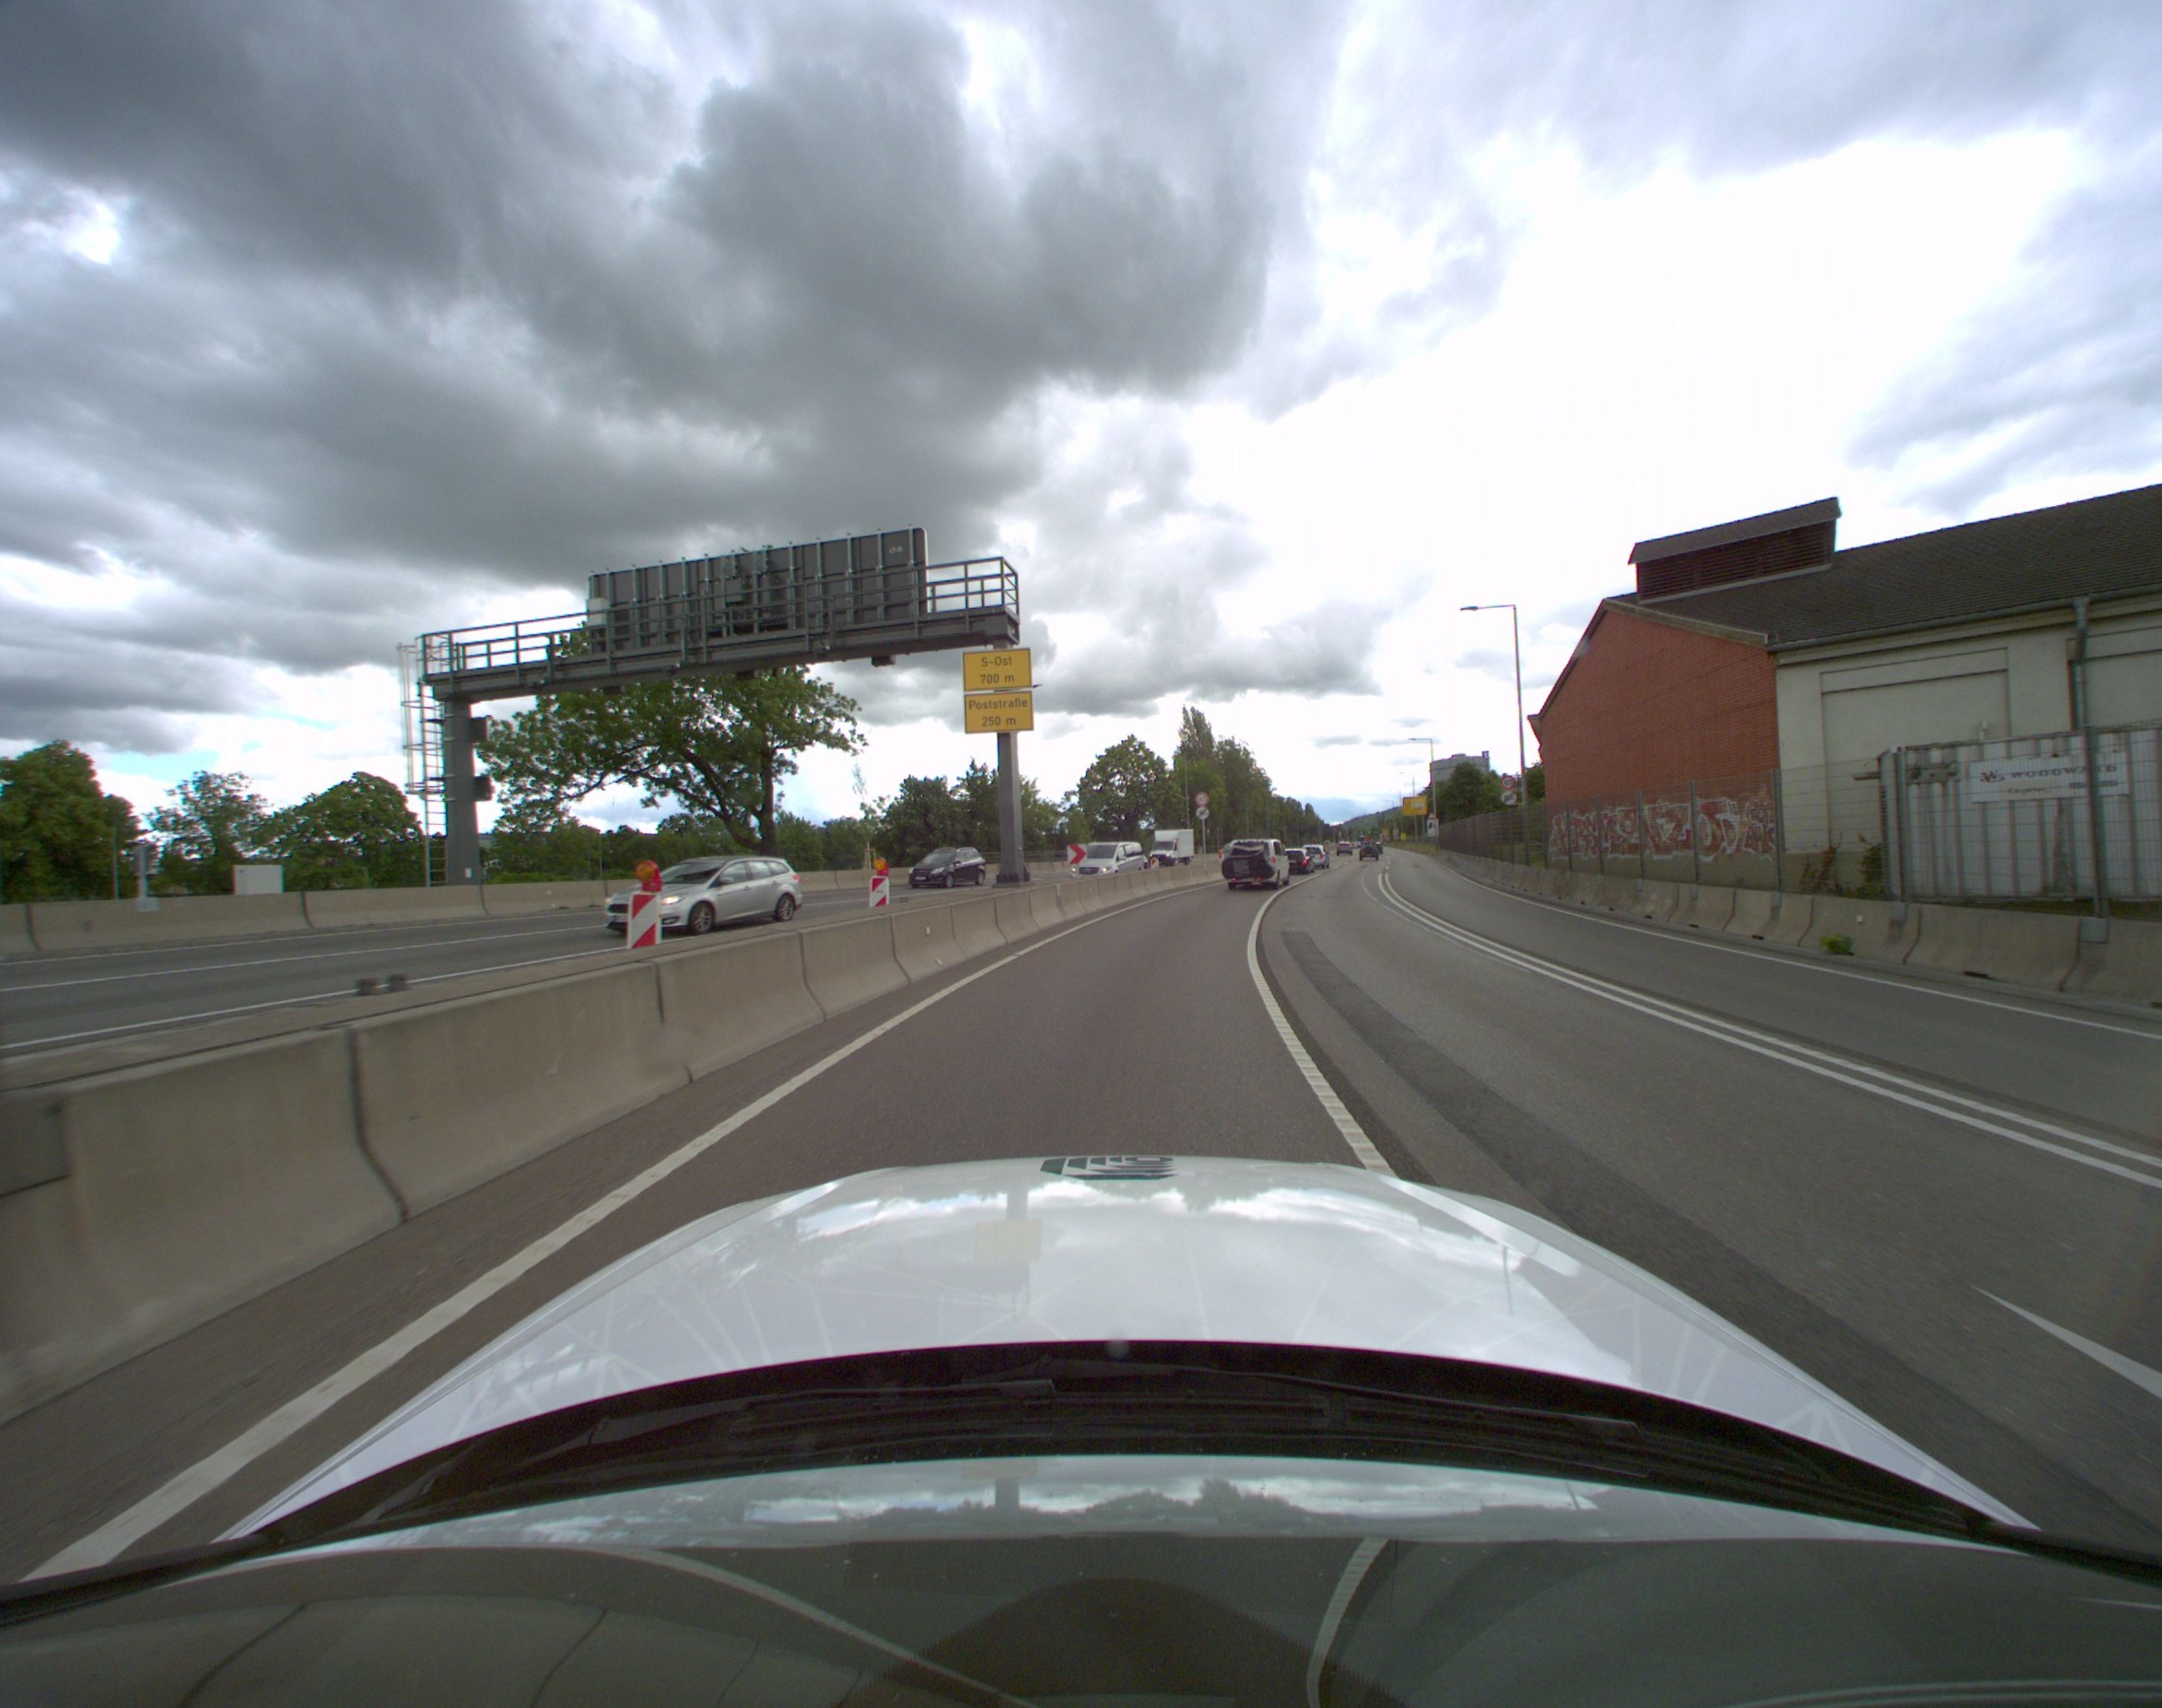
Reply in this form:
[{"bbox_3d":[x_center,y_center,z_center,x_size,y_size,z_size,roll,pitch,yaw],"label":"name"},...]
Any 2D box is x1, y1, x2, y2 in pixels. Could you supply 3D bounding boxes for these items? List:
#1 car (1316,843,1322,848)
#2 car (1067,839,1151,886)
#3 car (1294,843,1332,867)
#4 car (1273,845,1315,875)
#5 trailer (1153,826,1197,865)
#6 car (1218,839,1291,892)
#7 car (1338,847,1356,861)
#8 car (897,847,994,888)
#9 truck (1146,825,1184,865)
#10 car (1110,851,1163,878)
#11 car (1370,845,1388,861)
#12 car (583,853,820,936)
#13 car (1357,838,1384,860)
[{"bbox_3d":[70.118,-2.631,240.002,1.720,1.374,3.632,-2,0,16],"label":"car"},{"bbox_3d":[1.322,0.326,34.827,1.935,1.806,5.821,-1,0,20],"label":"car"},{"bbox_3d":[15.356,0.048,53.845,1.904,1.488,4.087,-2,0,22],"label":"car"},{"bbox_3d":[11.872,0.303,45.218,1.799,1.434,4.086,-3,0,21],"label":"car"},{"bbox_3d":[7.936,-0.725,68.485,2.253,3.137,5.741,-1,0,21],"label":"trailer"},{"bbox_3d":[6.801,0.351,31.392,1.976,1.859,5.670,0,1,20],"label":"car"},{"bbox_3d":[32.100,0.012,98.142,1.977,1.673,4.020,-1,0,20],"label":"car"},{"bbox_3d":[-5.828,0.555,35.748,1.976,1.672,4.753,-1,0,22],"label":"car"},{"bbox_3d":[6.768,-0.675,65.430,2.253,3.114,3.003,-1,0,21],"label":"truck"},{"bbox_3d":[3.230,0.553,46.476,1.848,1.453,4.593,-1,0,19],"label":"car"},{"bbox_3d":[37.524,-0.153,102.541,1.978,1.904,4.018,-2,-1,18],"label":"car"},{"bbox_3d":[-7.407,0.708,16.531,1.781,1.421,4.667,-1,0,14],"label":"car"},{"bbox_3d":[26.145,-0.423,73.610,1.978,1.860,4.017,-2,-1,17],"label":"car"}]
